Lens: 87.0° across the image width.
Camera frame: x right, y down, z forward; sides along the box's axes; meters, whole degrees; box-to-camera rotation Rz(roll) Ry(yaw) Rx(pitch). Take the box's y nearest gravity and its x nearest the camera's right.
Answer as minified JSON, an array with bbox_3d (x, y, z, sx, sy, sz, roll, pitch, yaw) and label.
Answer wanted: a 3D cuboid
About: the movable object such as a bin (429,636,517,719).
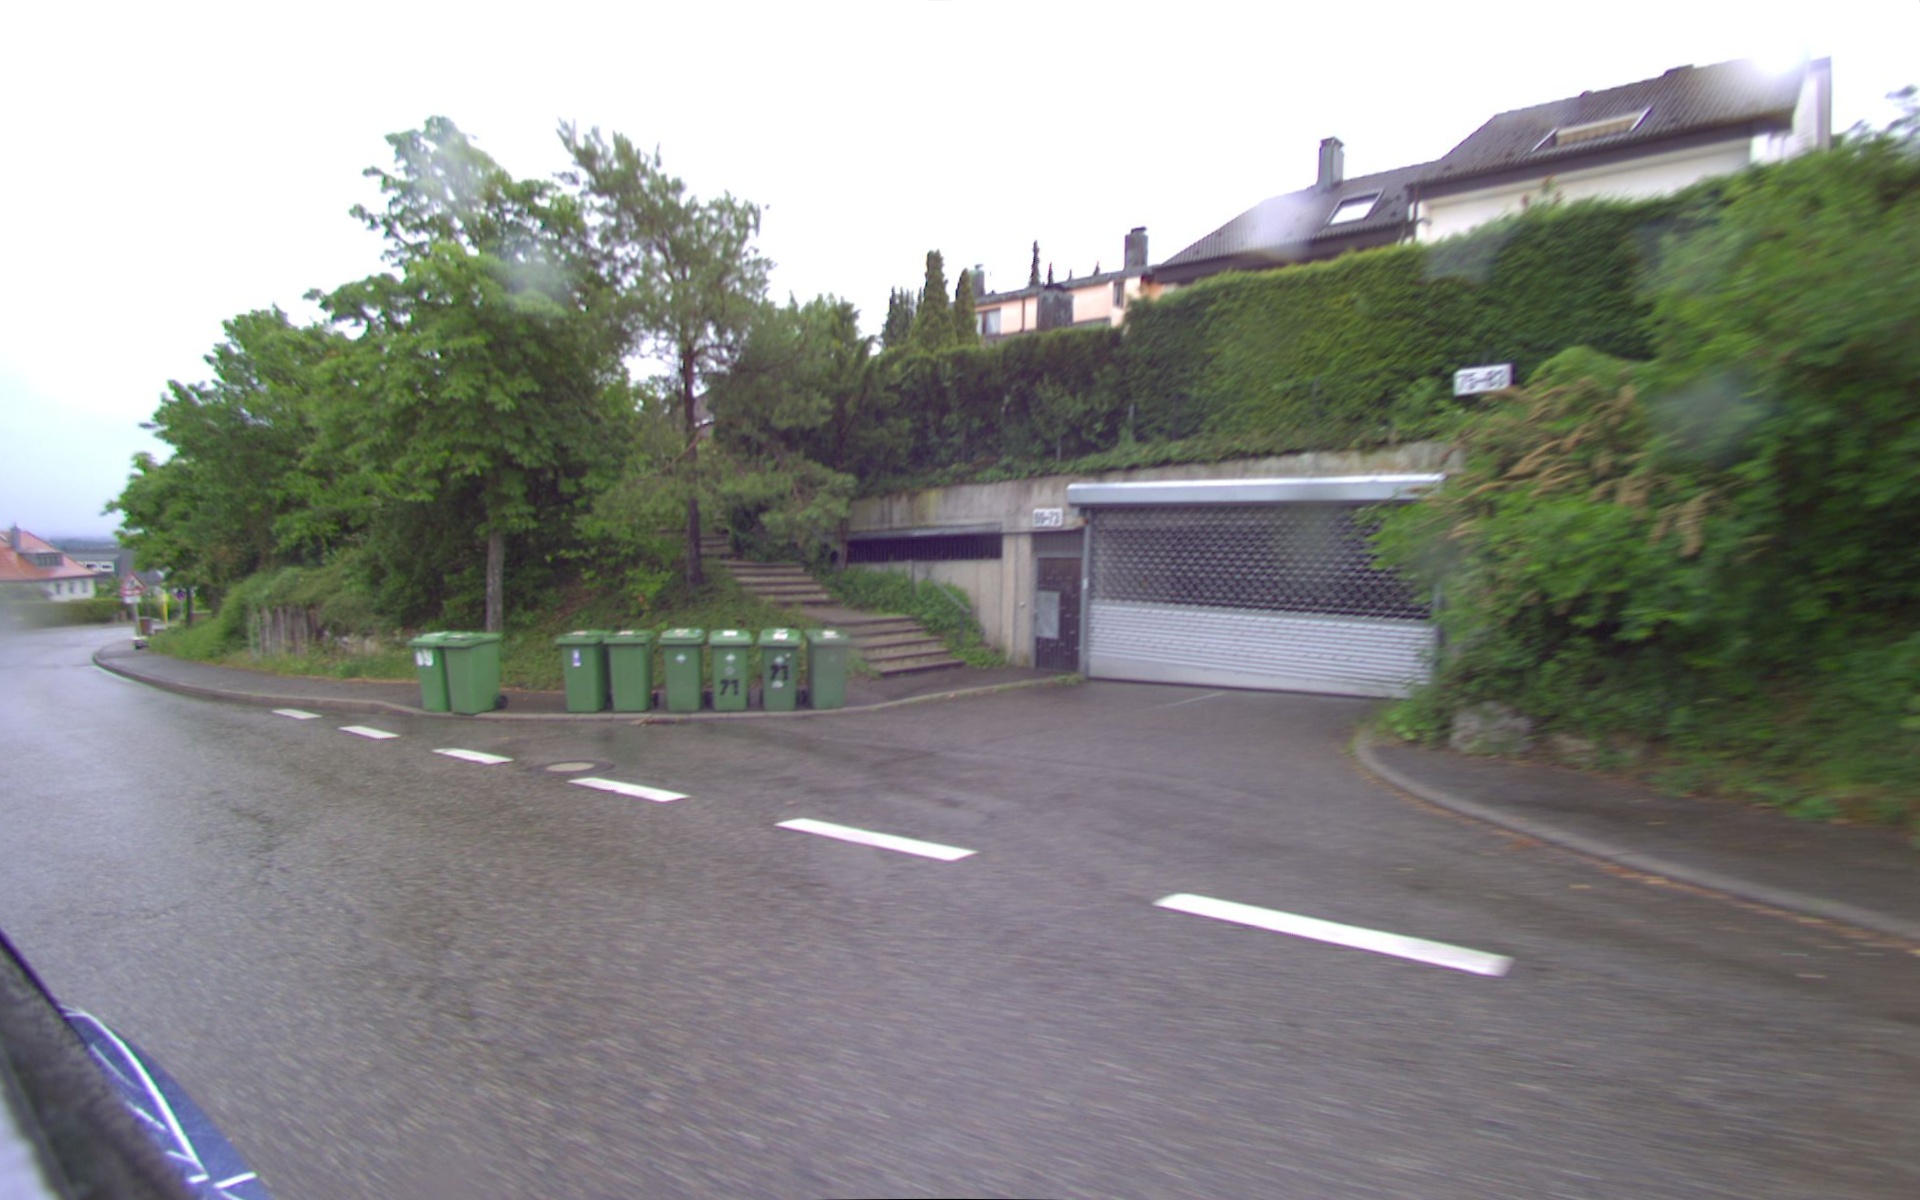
[{"bbox_3d":[-6.620,1.036,13.776,0.713,1.035,0.776,-1,2,18],"label":"movable object such as a bin"}]

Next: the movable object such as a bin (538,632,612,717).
[{"bbox_3d":[-5.191,0.996,13.676,0.709,1.035,0.781,-2,2,-5],"label":"movable object such as a bin"}]

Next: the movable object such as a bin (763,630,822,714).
[{"bbox_3d":[-2.280,0.968,13.872,0.709,1.035,0.781,-2,2,-5],"label":"movable object such as a bin"}]

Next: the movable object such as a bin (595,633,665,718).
[{"bbox_3d":[-4.457,1.005,13.732,0.709,1.035,0.781,-2,2,-5],"label":"movable object such as a bin"}]

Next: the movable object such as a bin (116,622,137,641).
[{"bbox_3d":[-45.656,1.719,55.457,0.868,1.038,0.805,0,-1,-38],"label":"movable object such as a bin"}]

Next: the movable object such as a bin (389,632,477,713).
[{"bbox_3d":[-7.303,0.988,14.057,0.713,1.035,0.776,-1,2,18],"label":"movable object such as a bin"}]

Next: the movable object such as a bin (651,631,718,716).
[{"bbox_3d":[-3.735,0.984,13.781,0.709,1.035,0.781,-2,2,-5],"label":"movable object such as a bin"}]

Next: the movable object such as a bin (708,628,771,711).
[{"bbox_3d":[-3.001,0.932,13.829,0.709,1.035,0.781,-2,2,-5],"label":"movable object such as a bin"}]
